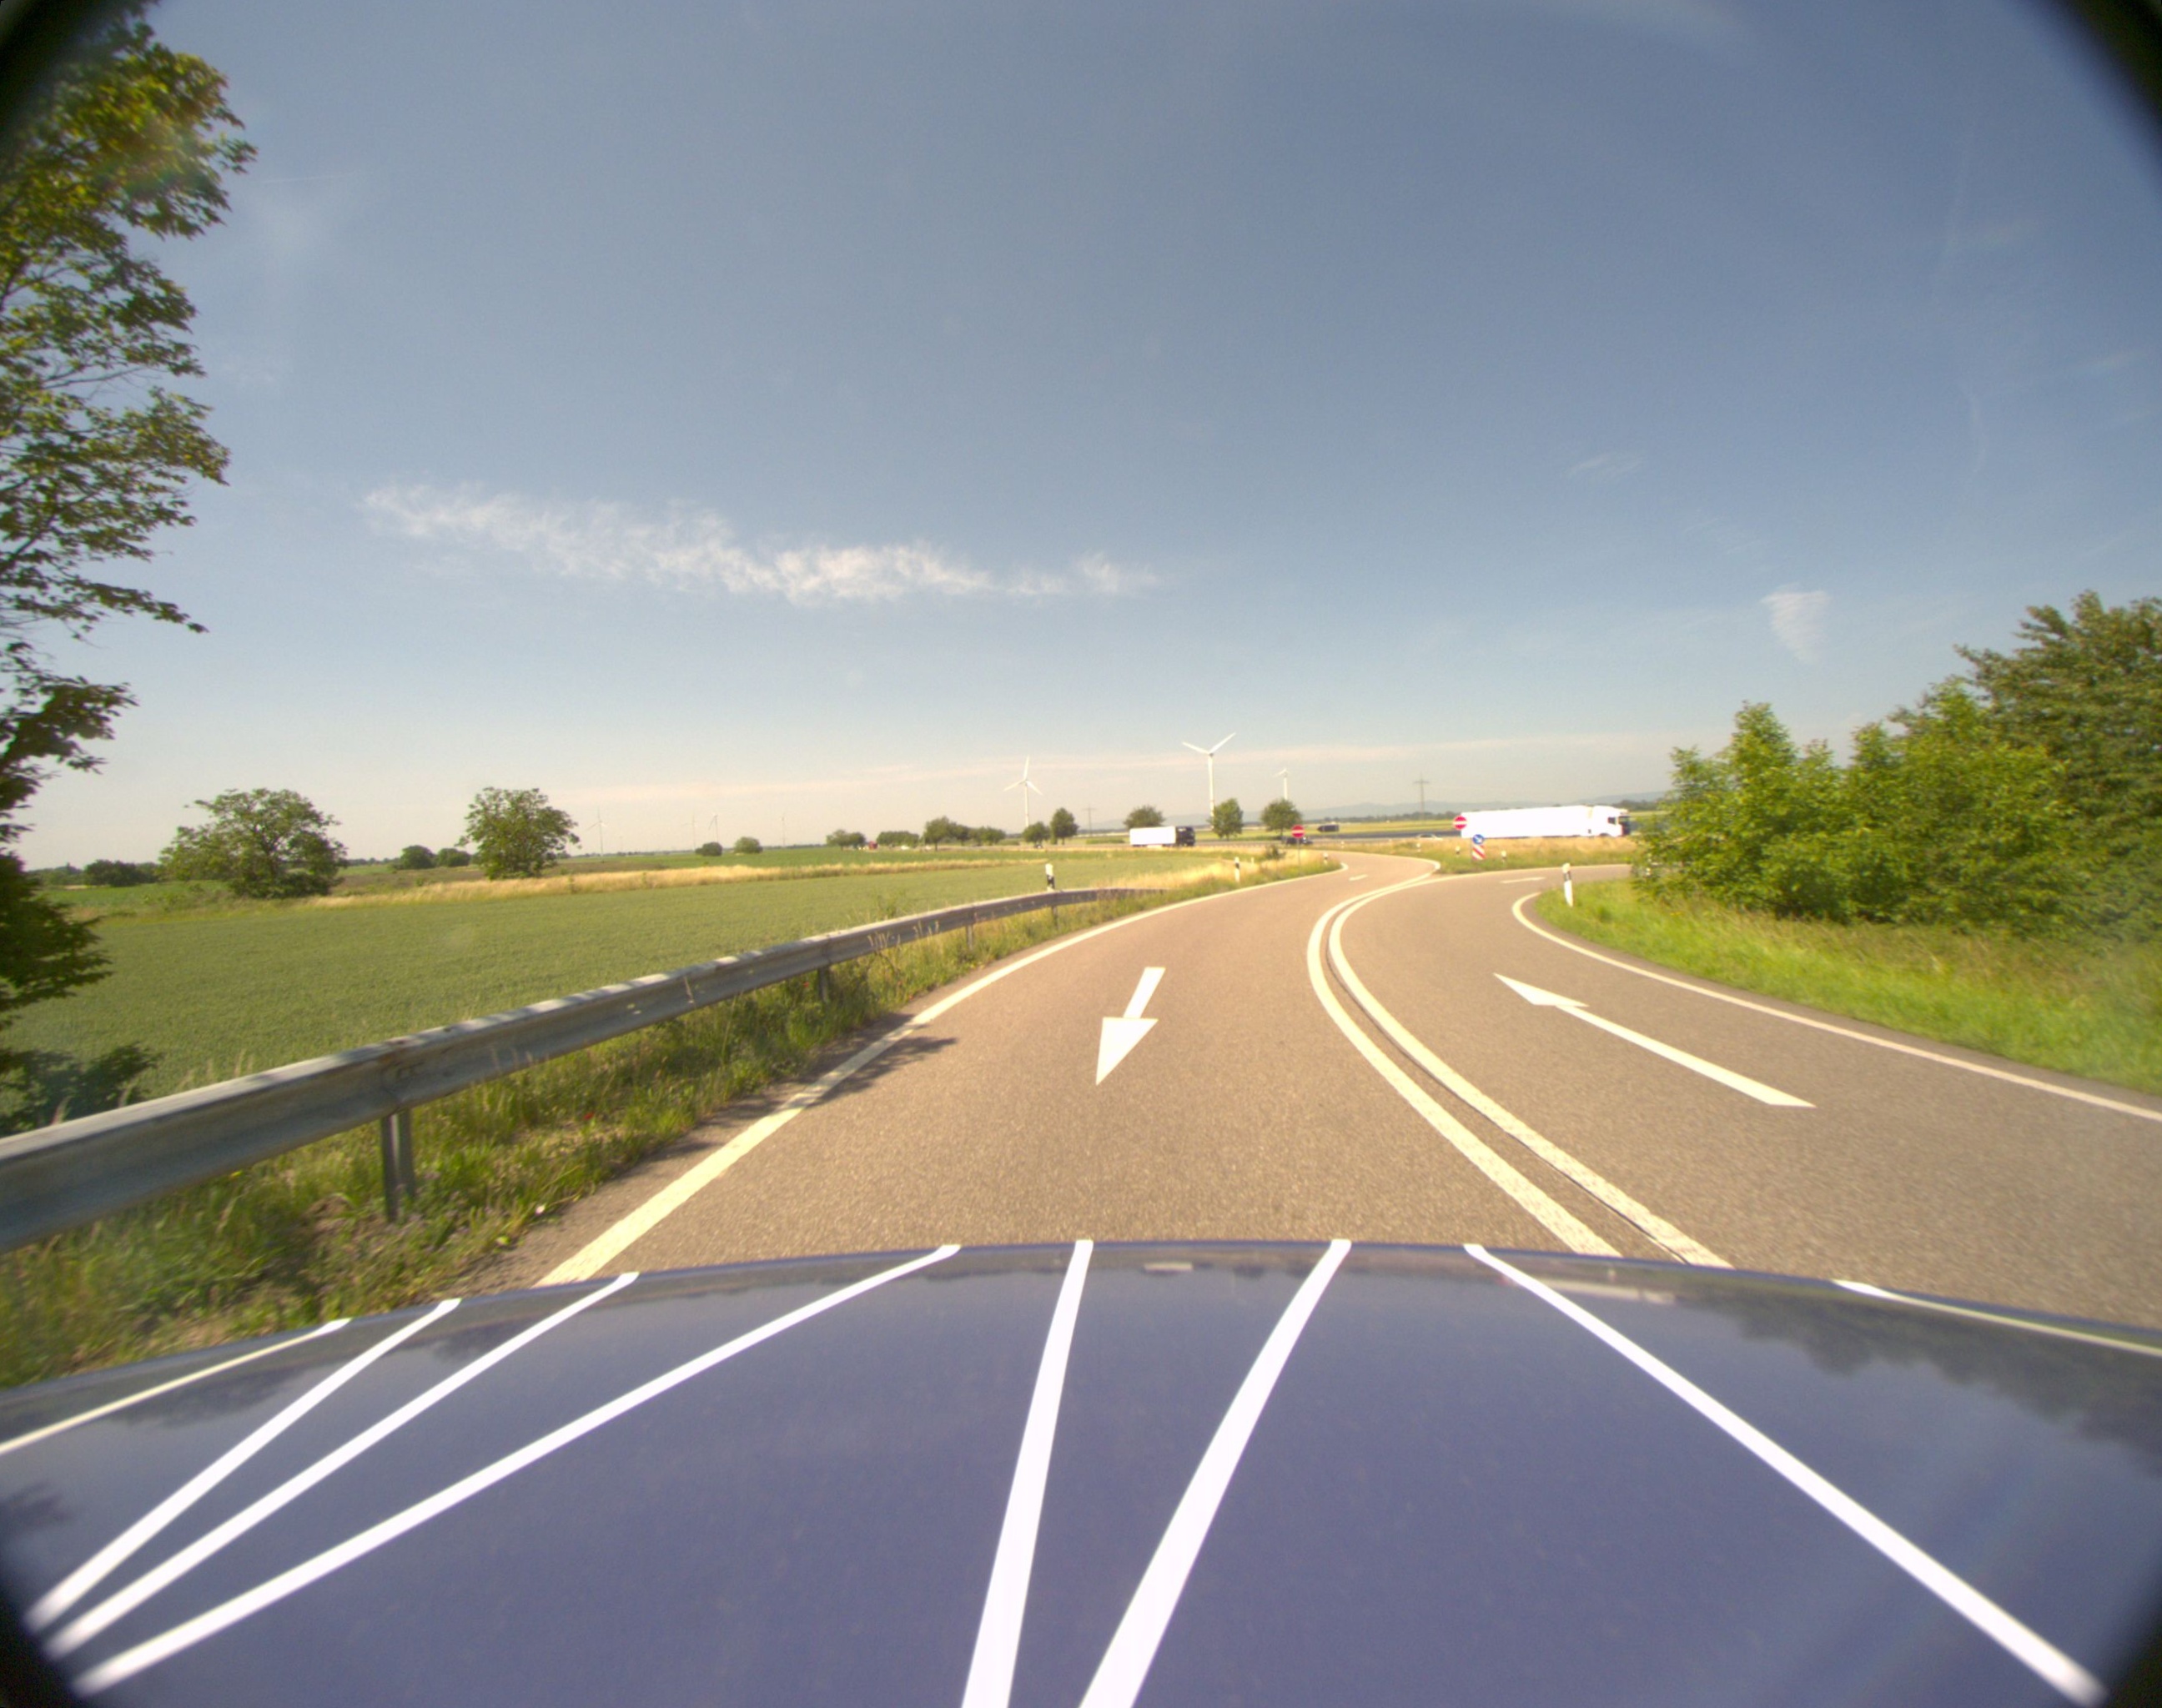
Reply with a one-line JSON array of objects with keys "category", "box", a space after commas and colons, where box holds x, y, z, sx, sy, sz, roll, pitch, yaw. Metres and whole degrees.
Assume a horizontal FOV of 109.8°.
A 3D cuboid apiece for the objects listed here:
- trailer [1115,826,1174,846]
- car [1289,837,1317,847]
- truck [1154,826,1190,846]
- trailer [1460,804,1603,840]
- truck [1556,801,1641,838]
[{"category": "trailer", "box": [11.790, -3.376, 143.650, 3.108, 3.624, 14.476, -3, 2, -32]}, {"category": "car", "box": [34.074, -1.832, 116.530, 1.684, 1.346, 3.990, -2, 2, -30]}, {"category": "truck", "box": [16.300, -3.277, 136.588, 3.120, 3.498, 6.220, -3, 2, -33]}, {"category": "trailer", "box": [48.989, -3.388, 83.357, 3.108, 3.624, 13.620, -3, 2, -32]}, {"category": "truck", "box": [52.723, -3.480, 77.513, 3.120, 3.498, 6.438, -3, 2, -33]}]
